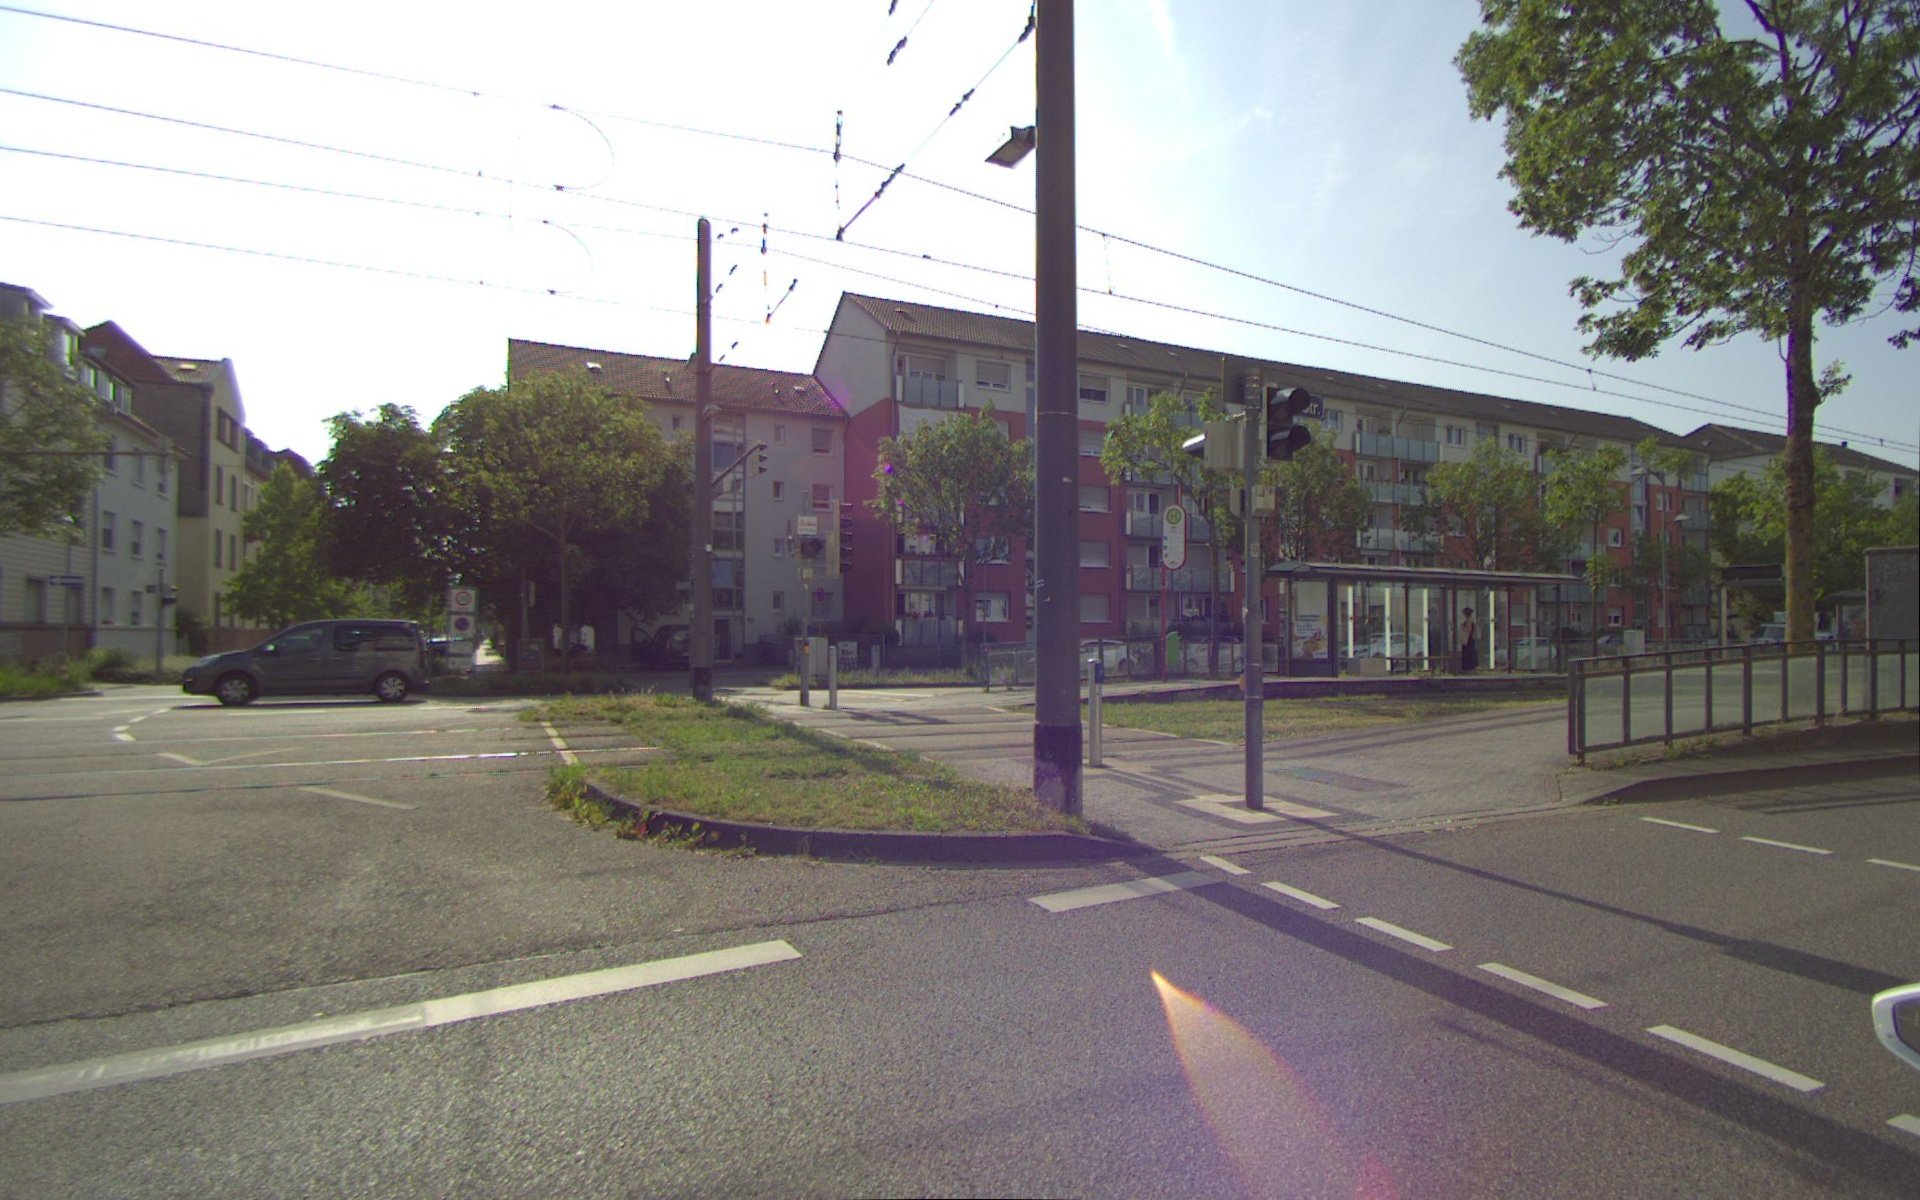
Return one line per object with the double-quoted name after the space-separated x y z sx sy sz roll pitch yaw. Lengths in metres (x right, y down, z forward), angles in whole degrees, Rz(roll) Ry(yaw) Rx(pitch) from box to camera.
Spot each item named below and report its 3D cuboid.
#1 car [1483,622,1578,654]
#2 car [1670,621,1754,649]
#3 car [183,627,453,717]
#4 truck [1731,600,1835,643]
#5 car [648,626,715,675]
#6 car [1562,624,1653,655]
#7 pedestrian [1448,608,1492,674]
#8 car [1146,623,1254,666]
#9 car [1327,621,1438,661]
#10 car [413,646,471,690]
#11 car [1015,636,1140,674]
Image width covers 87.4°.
26.688 1.764 46.991 4.016 1.378 1.974 0 0 -27 "car"
39.672 1.829 53.001 4.016 1.378 1.974 0 0 -27 "car"
-13.492 1.482 21.443 4.659 1.728 1.984 1 -4 -32 "car"
51.470 1.293 62.748 7.147 2.597 2.357 0 0 -27 "truck"
-11.025 1.935 39.645 1.973 1.717 3.976 0 0 -24 "car"
31.515 1.900 48.872 4.016 1.378 1.974 0 0 -27 "car"
13.249 1.059 26.094 0.785 1.675 0.668 0 -2 -30 "pedestrian"
9.224 1.676 38.586 3.777 1.490 1.827 0 0 -27 "car"
18.090 1.721 42.949 4.478 1.577 1.974 0 0 -27 "car"
-22.844 2.958 44.450 1.970 1.627 3.978 0 0 -23 "car"
4.178 1.925 35.746 4.110 1.163 1.827 0 0 -27 "car"
